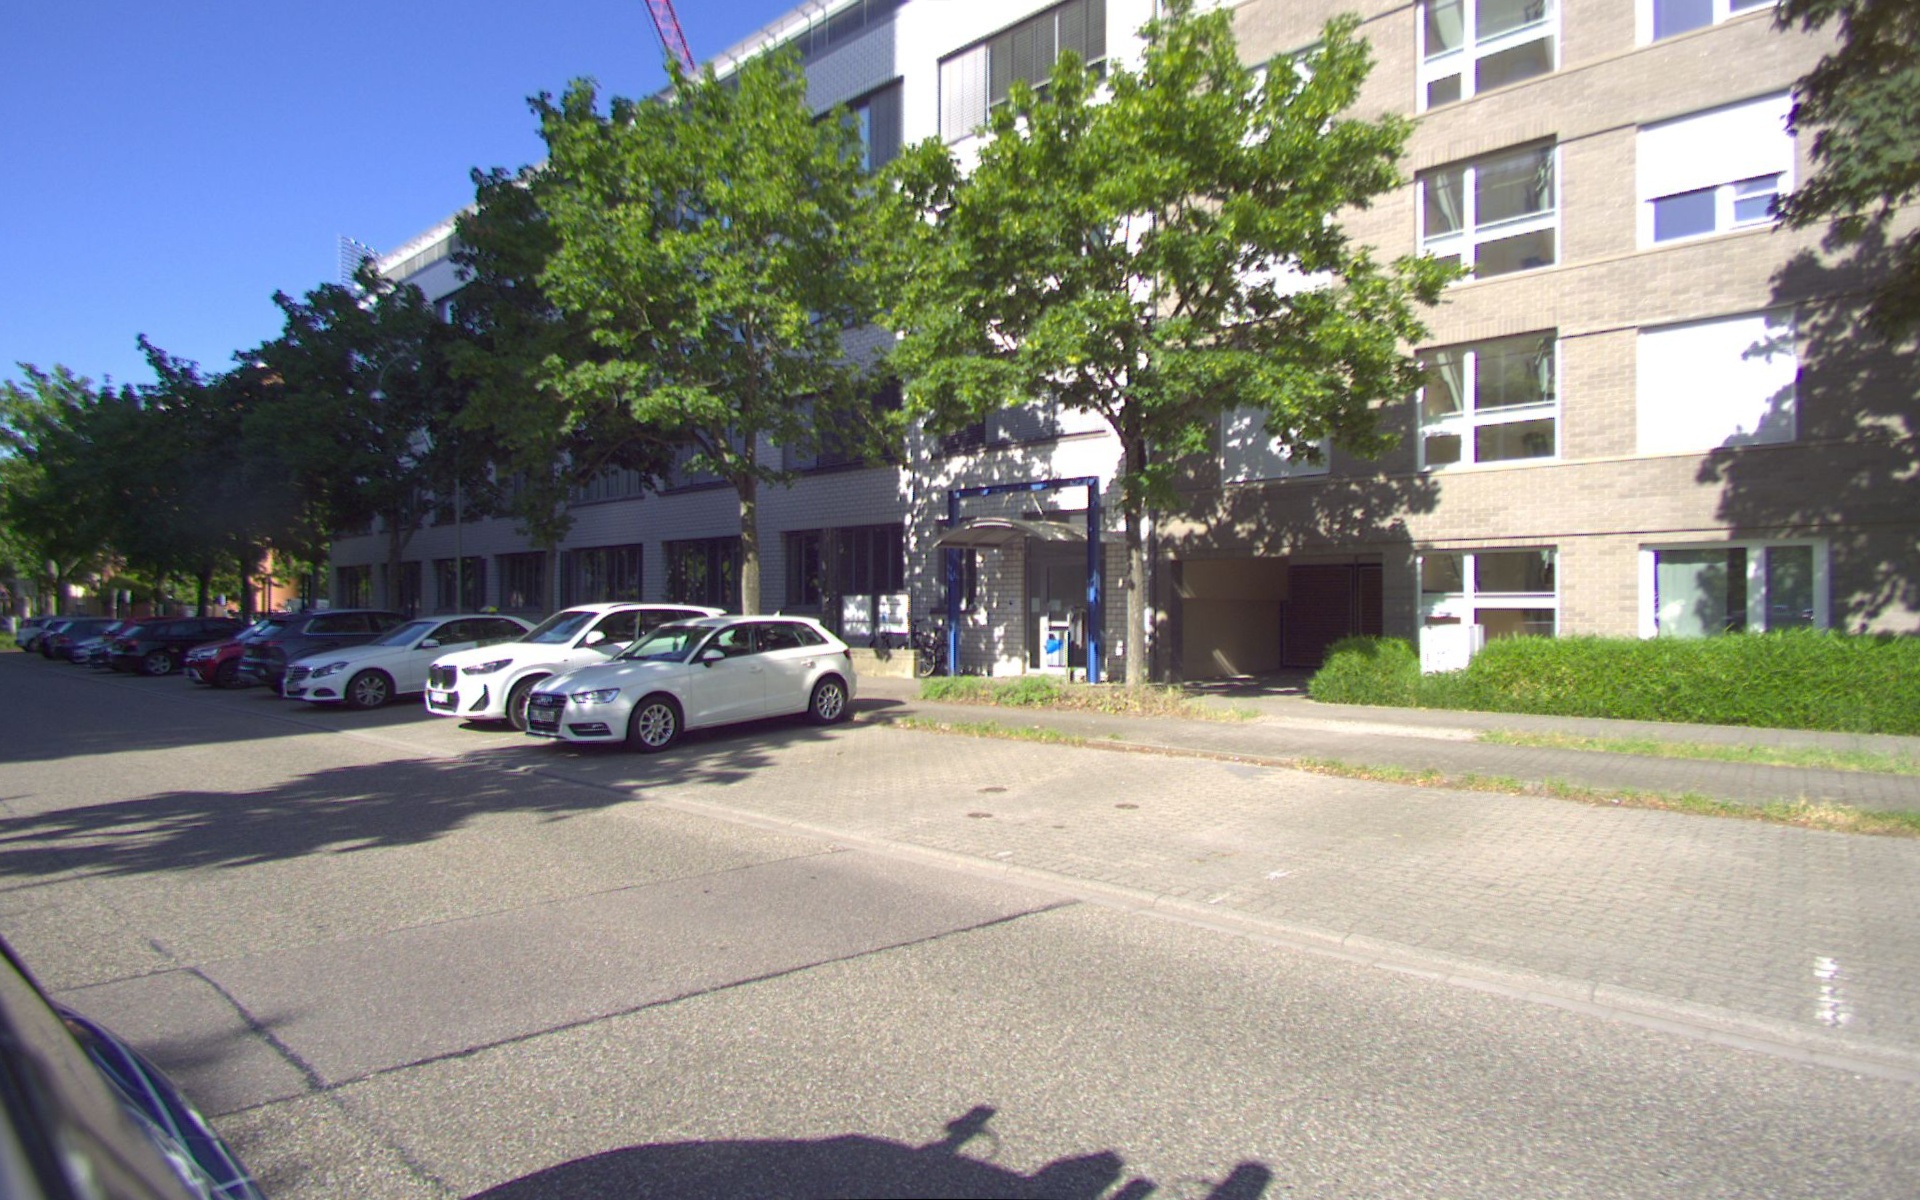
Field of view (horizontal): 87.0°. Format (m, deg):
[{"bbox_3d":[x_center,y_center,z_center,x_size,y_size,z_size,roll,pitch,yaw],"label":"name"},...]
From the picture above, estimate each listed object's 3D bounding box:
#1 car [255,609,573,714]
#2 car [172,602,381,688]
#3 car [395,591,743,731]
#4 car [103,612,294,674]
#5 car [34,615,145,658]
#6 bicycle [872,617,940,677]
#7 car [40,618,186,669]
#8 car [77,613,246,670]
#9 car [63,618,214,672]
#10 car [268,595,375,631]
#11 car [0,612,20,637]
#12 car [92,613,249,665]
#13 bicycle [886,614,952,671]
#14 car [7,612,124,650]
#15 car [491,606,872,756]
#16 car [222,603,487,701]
[{"bbox_3d":[-9.302,0.948,17.596,1.937,1.462,4.468,-1,0,36],"label":"car"},{"bbox_3d":[-15.020,0.934,22.354,1.654,1.681,3.533,-1,0,43],"label":"car"},{"bbox_3d":[-5.394,0.722,14.384,1.952,1.614,4.182,0,1,41],"label":"car"},{"bbox_3d":[-20.312,1.116,27.110,1.686,1.424,3.785,-3,0,39],"label":"car"},{"bbox_3d":[-31.557,1.294,36.731,1.388,1.454,2.896,-1,-1,40],"label":"car"},{"bbox_3d":[-1.140,0.952,20.916,1.627,1.184,0.334,-1,0,41],"label":"bicycle"},{"bbox_3d":[-28.179,1.405,33.751,1.645,1.517,3.495,-1,0,39],"label":"car"},{"bbox_3d":[-22.520,1.117,28.625,1.656,1.447,3.495,-1,0,39],"label":"car"},{"bbox_3d":[-26.148,1.374,32.277,1.656,1.541,3.483,-1,0,39],"label":"car"},{"bbox_3d":[-39.443,0.788,62.605,1.930,2.114,5.263,-1,0,38],"label":"car"},{"bbox_3d":[-64.889,1.622,65.963,1.953,1.637,5.184,-1,0,42],"label":"car"},{"bbox_3d":[-24.123,1.144,31.002,1.655,1.456,3.497,-1,0,37],"label":"car"},{"bbox_3d":[-0.901,0.908,21.896,1.627,1.184,0.334,-1,0,41],"label":"bicycle"},{"bbox_3d":[-38.623,1.303,43.737,1.616,1.519,3.585,-1,0,39],"label":"car"},{"bbox_3d":[-3.193,0.831,12.298,1.798,1.491,4.216,-1,-1,39],"label":"car"},{"bbox_3d":[-11.629,0.908,19.644,1.803,1.632,4.069,-1,0,42],"label":"car"}]
